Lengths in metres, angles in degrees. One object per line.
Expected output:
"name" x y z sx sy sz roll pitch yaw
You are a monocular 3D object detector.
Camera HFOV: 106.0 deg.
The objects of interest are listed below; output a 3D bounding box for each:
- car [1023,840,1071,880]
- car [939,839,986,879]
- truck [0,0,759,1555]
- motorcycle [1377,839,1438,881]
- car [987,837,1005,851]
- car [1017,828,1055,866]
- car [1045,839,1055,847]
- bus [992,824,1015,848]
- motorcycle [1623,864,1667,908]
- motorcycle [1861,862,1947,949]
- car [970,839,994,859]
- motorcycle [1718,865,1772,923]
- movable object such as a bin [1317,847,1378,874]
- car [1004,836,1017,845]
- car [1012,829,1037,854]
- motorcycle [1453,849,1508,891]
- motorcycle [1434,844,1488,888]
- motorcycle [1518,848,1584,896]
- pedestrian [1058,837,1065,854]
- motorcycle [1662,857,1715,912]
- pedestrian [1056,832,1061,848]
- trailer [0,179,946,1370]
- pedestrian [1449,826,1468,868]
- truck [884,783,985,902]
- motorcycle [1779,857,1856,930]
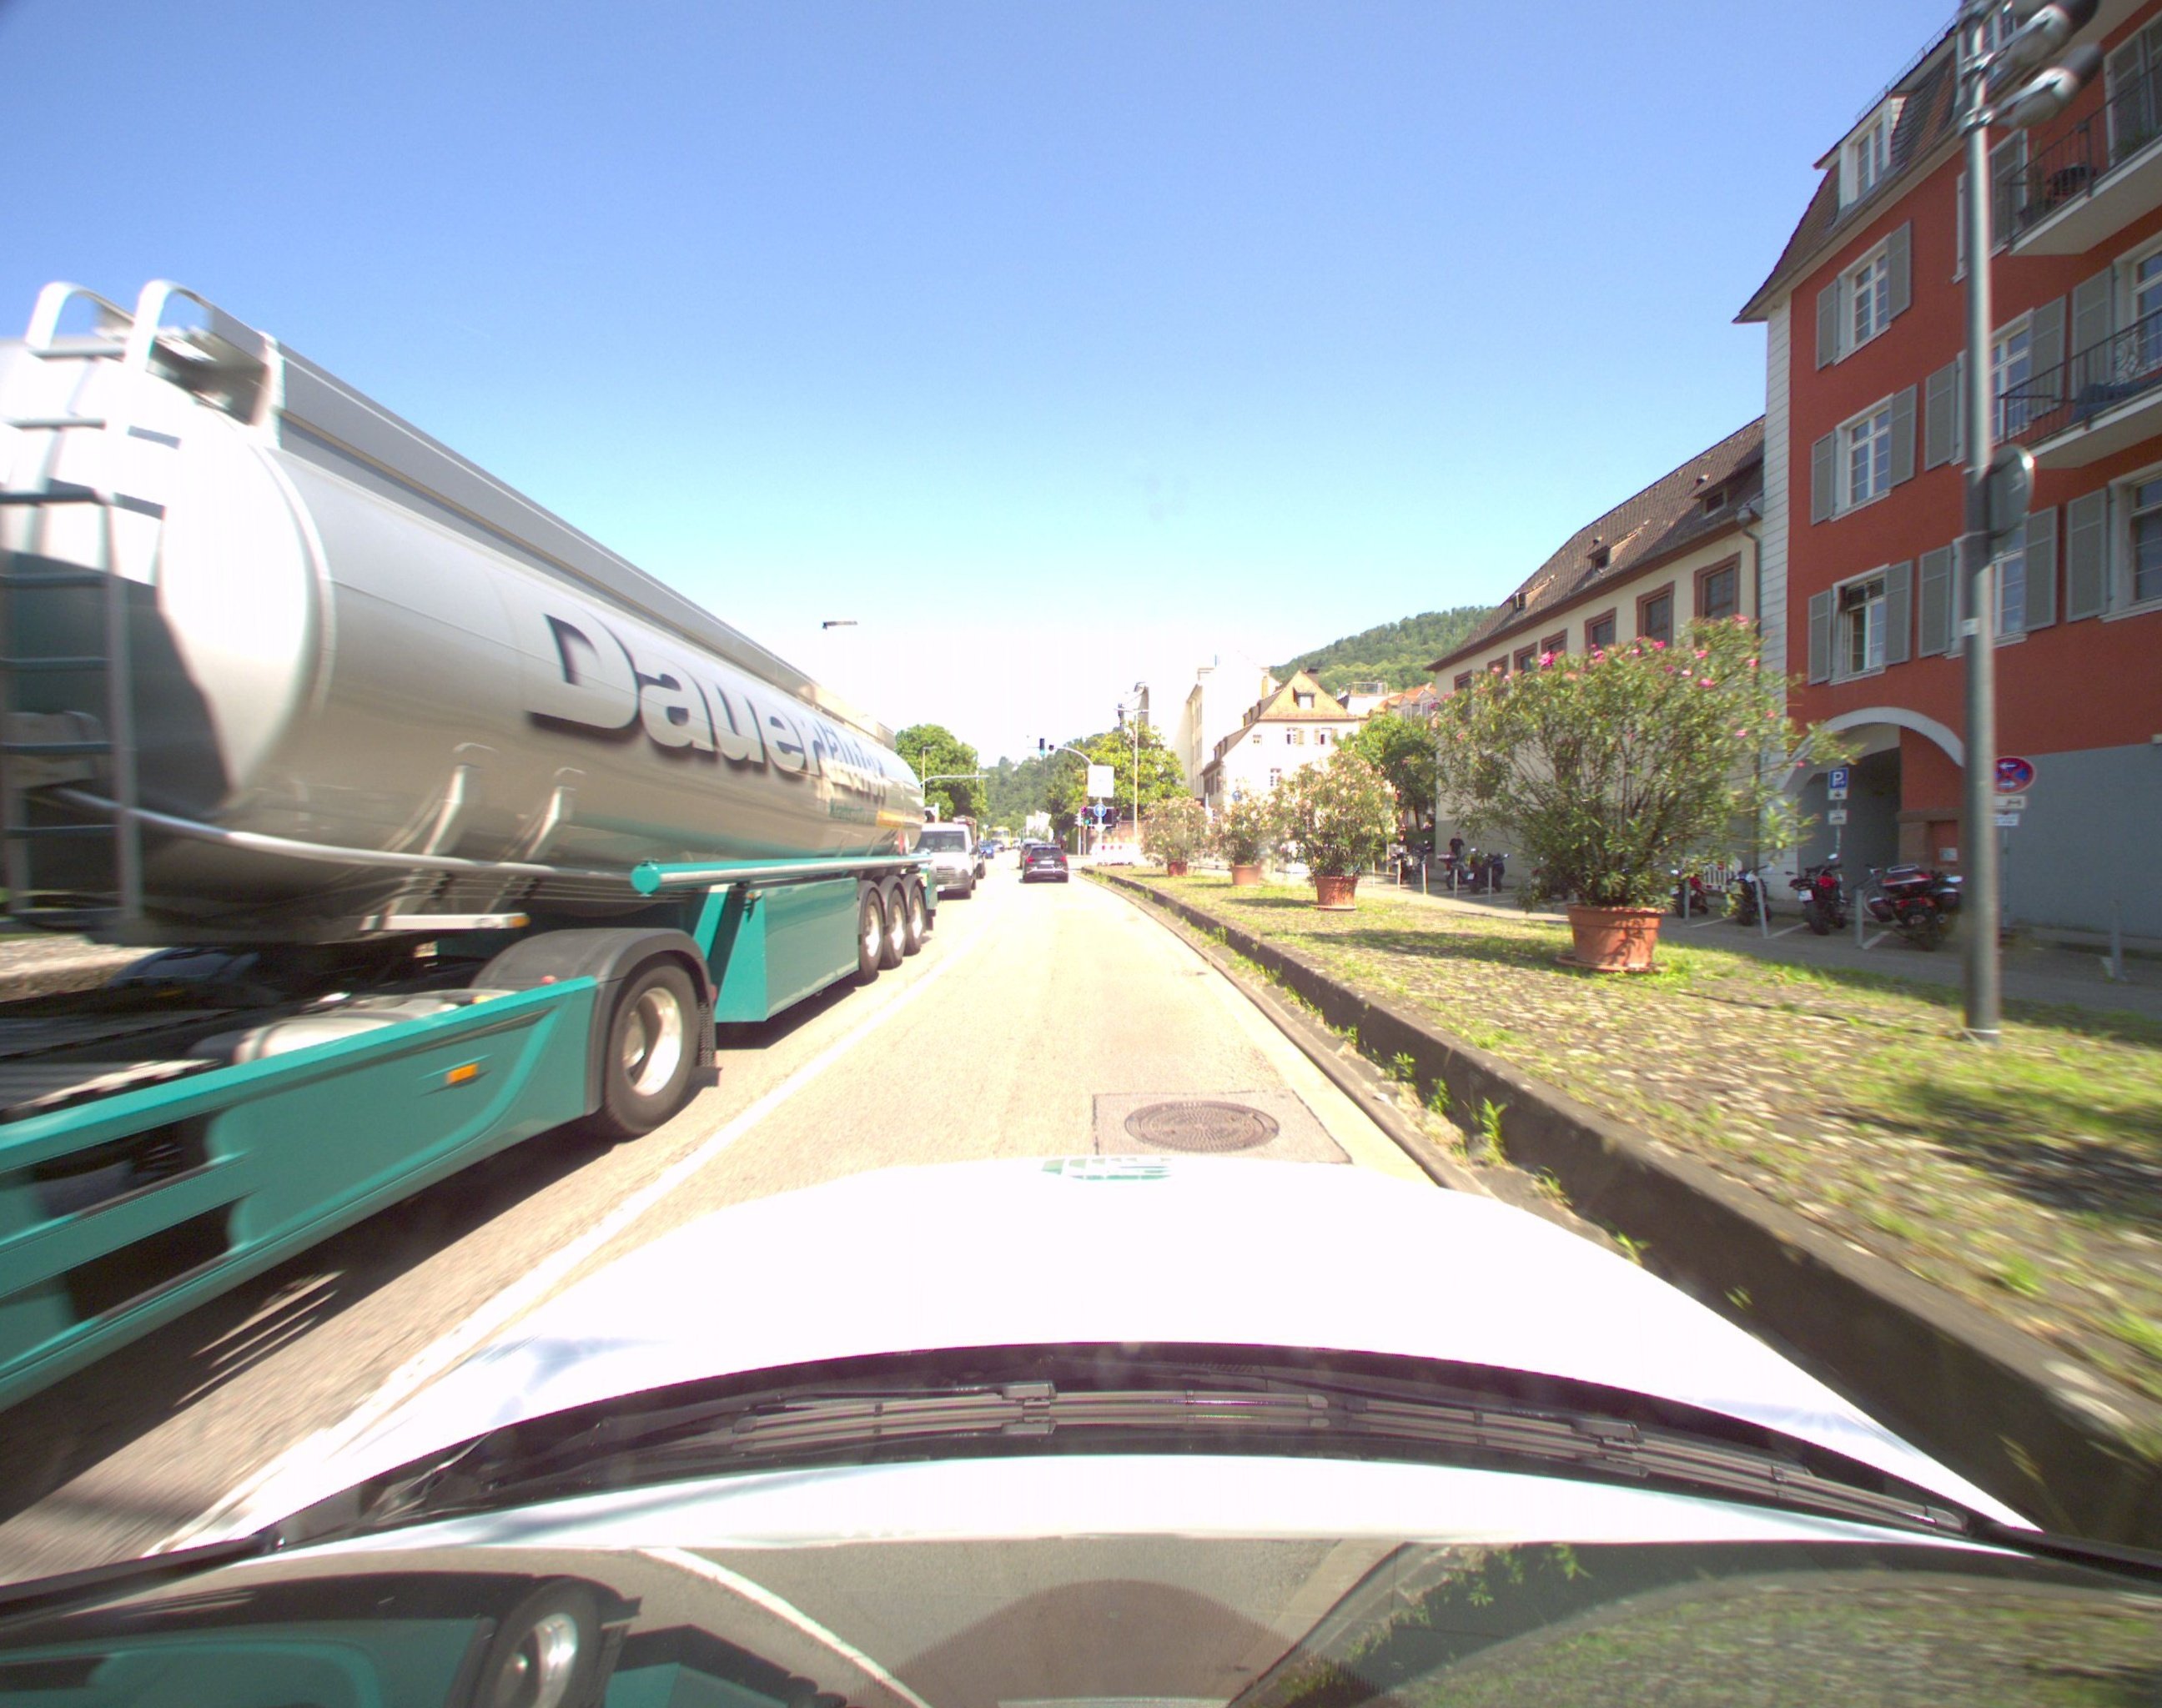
"car" -1.464 0.255 33.782 1.853 1.524 3.994 -1 -1 -4
"car" -5.467 0.175 38.049 1.860 1.680 4.446 -1 1 -5
"truck" -3.626 -0.341 2.560 2.515 3.748 6.247 -2 1 1
"motorcycle" 12.504 0.210 31.164 2.510 1.533 1.041 -1 1 -39
"car" -8.933 -1.108 85.972 1.806 1.406 4.348 -1 2 -6
"car" -2.566 -0.347 45.901 1.990 2.014 3.993 -1 -1 -5
"car" -6.423 -2.319 169.579 1.989 1.453 4.004 -1 -1 -3
"bus" -9.808 -2.351 103.335 2.592 2.896 8.436 -1 2 -4
"motorcycle" 13.885 0.765 20.032 1.943 0.986 0.541 -1 1 -44
"motorcycle" 13.632 0.784 13.459 2.557 1.233 0.832 -1 1 -41
"car" -7.934 -0.442 65.020 1.808 1.508 3.989 0 1 -8
"motorcycle" 13.894 0.802 17.021 2.210 1.076 0.620 -1 1 -44
"movable object such as a bin" 11.802 0.272 36.023 2.972 1.110 1.243 -2 1 -41
"car" -11.160 -2.123 129.137 1.811 1.397 4.341 -1 2 -4
"car" -4.892 -1.066 70.120 1.990 2.013 3.993 3 0 -5
"motorcycle" 12.856 0.483 26.192 2.207 1.267 0.621 -1 1 -36
"motorcycle" 12.889 0.381 27.581 2.247 1.251 0.622 -5 7 -36
"motorcycle" 13.281 0.490 22.994 2.193 1.267 0.774 -1 1 -36
"pedestrian" -2.063 -0.903 84.450 0.679 1.742 0.912 -1 0 -4
"motorcycle" 13.861 0.666 18.554 2.210 1.148 0.620 -1 1 -44
"pedestrian" -2.410 -1.485 86.091 0.454 1.606 0.579 -1 0 -3
"trailer" -3.639 -0.290 8.261 2.516 3.643 11.529 -2 1 0
"pedestrian" 16.507 -0.306 35.656 0.493 1.823 0.618 -1 -1 -2
"truck" -4.596 -0.404 26.872 2.372 3.261 7.599 -3 1 -5
"motorcycle" 14.017 0.704 15.482 2.165 1.233 0.832 -1 1 -41
